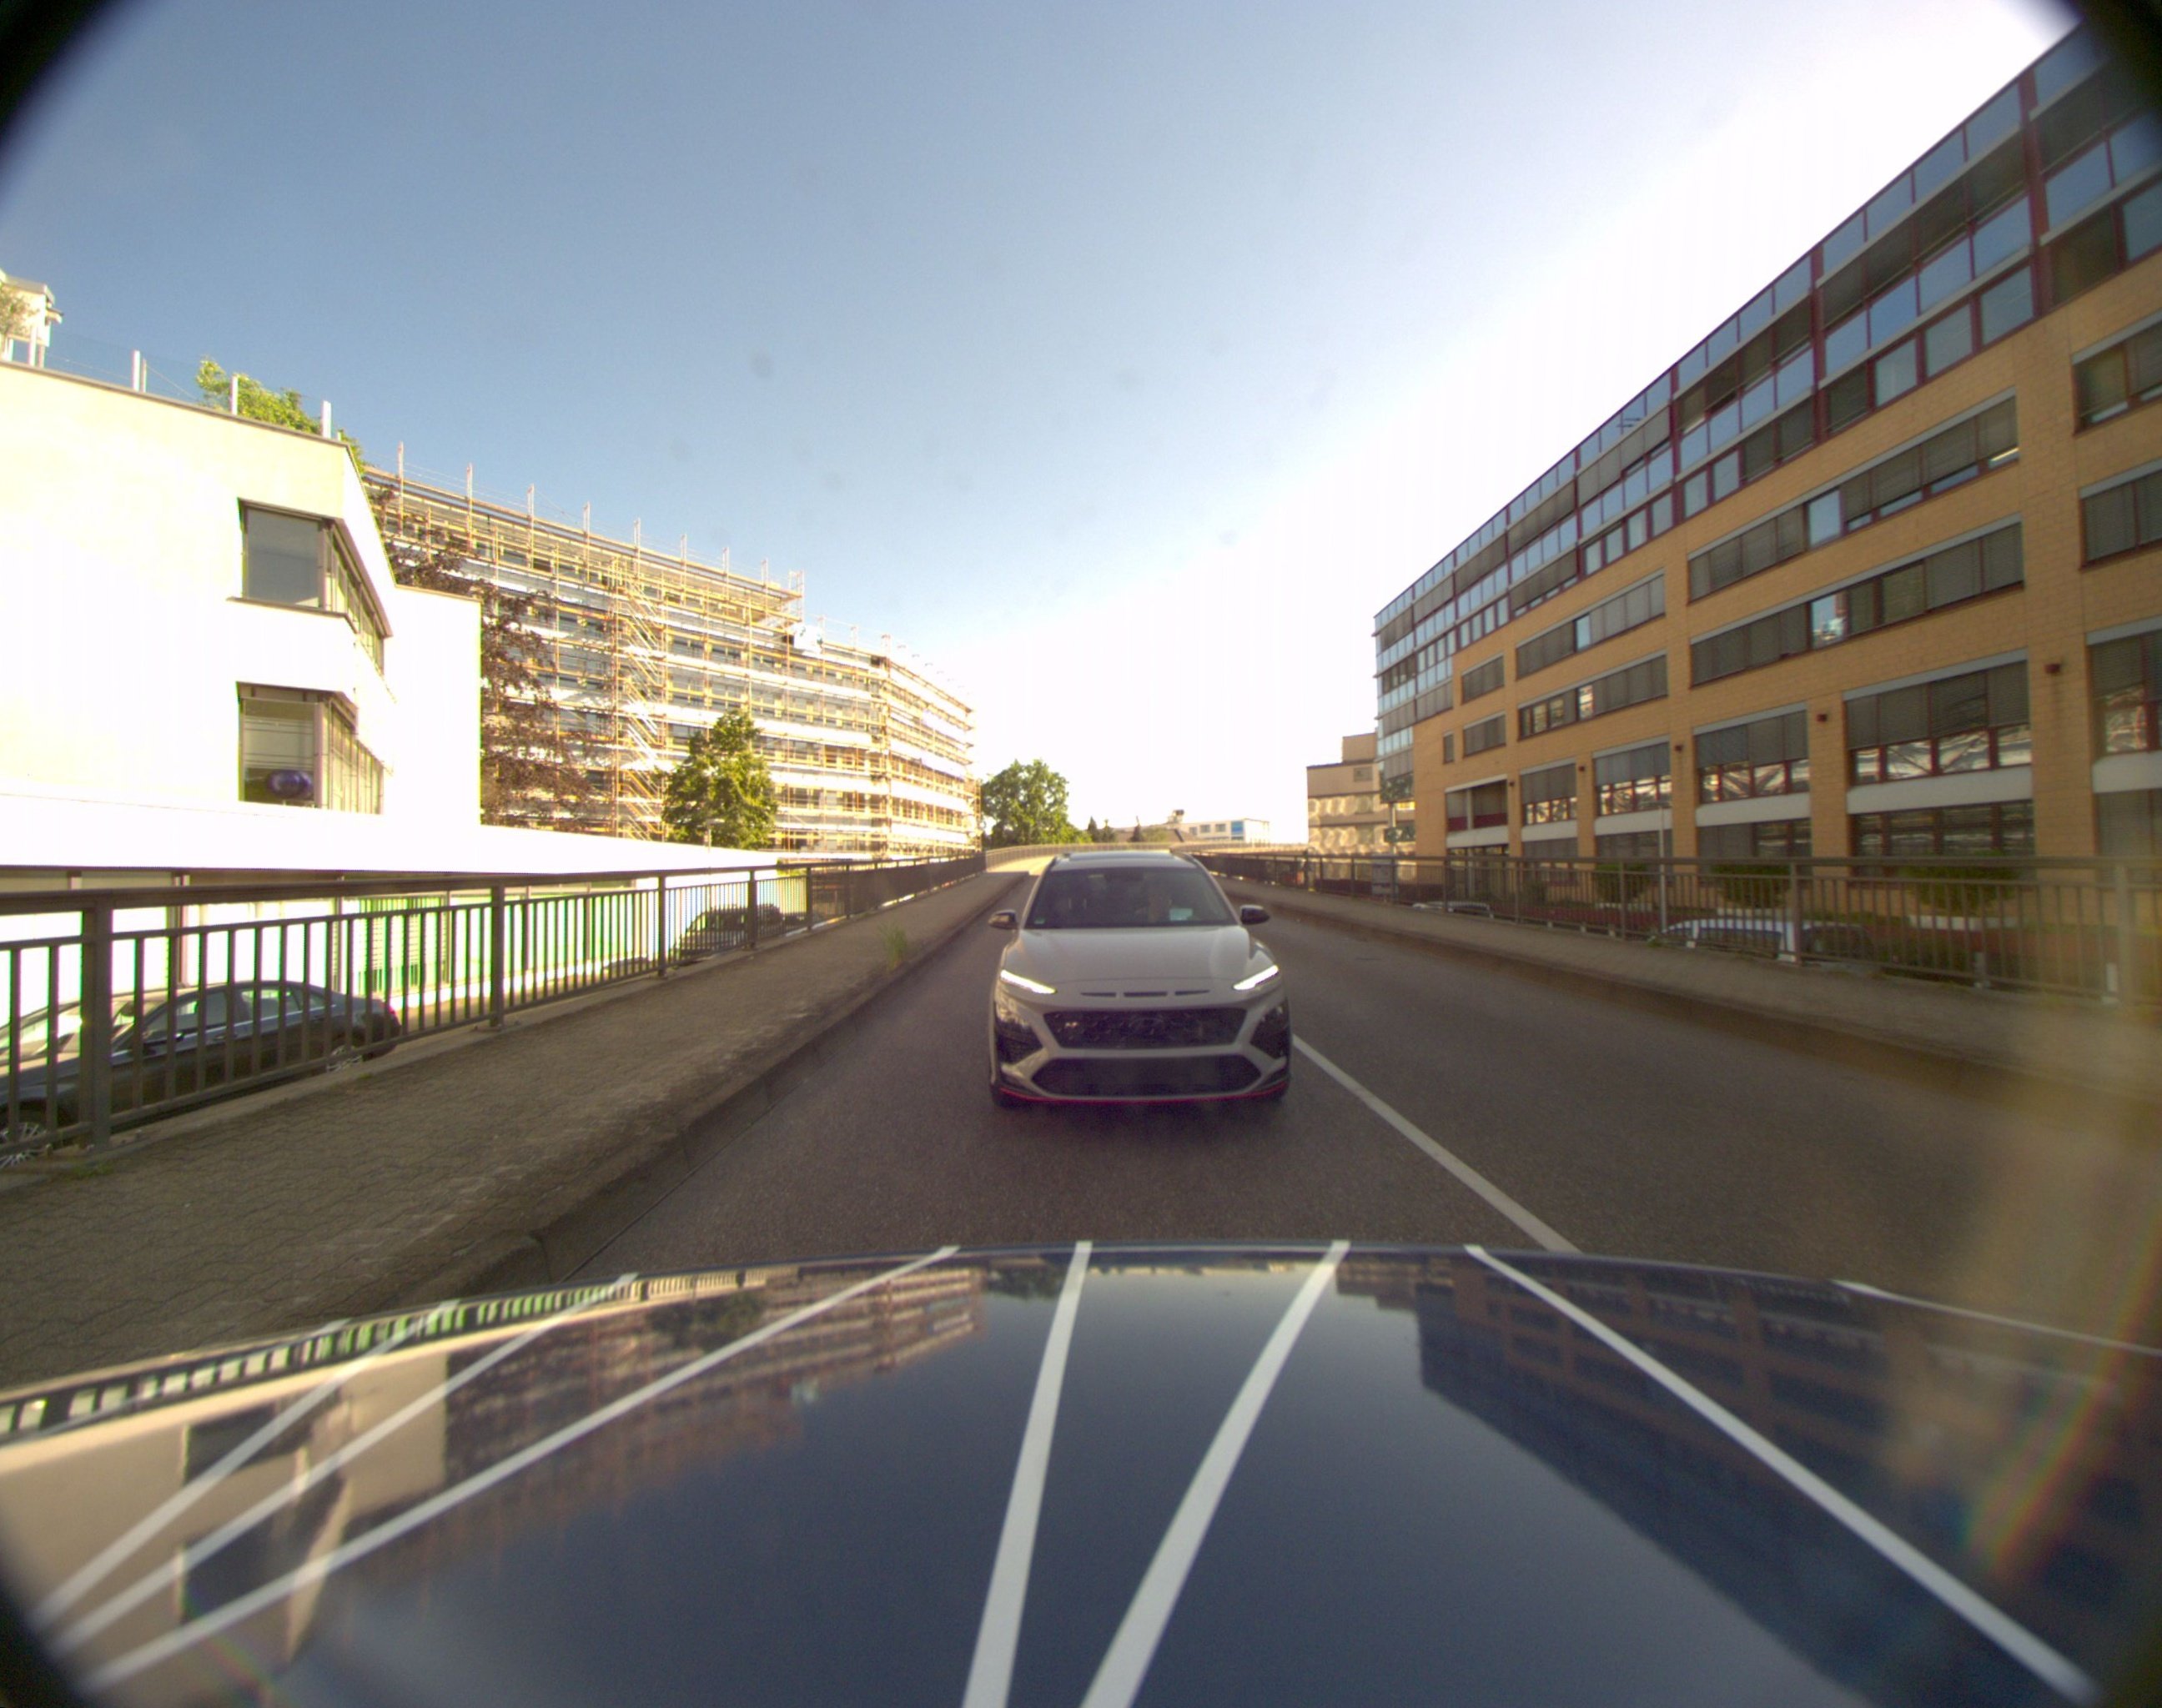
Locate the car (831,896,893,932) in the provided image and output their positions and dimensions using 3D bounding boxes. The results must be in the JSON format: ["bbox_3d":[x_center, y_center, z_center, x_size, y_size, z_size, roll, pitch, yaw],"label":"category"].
[{"bbox_3d":[-10.208,2.781,35.676,1.726,1.383,4.000,-2,-1,-1],"label":"car"}]

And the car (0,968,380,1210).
[{"bbox_3d":[-9.593,2.170,7.417,1.726,1.513,4.001,-2,-1,1],"label":"car"}]

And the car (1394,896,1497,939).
[{"bbox_3d":[12.746,2.190,26.828,1.766,1.261,3.809,0,-1,-1],"label":"car"}]

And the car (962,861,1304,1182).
[{"bbox_3d":[0.292,0.886,5.892,1.749,1.637,4.001,0,-1,1],"label":"car"}]

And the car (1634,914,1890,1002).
[{"bbox_3d":[13.052,1.933,14.921,1.580,1.261,3.809,0,-1,-1],"label":"car"}]

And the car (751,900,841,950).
[{"bbox_3d":[-10.085,2.484,27.216,1.726,1.383,4.000,-2,-1,-1],"label":"car"}]

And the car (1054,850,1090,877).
[{"bbox_3d":[-0.524,0.491,43.049,1.902,1.433,4.126,0,0,-1],"label":"car"}]

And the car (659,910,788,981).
[{"bbox_3d":[-9.904,2.477,21.428,1.726,1.513,4.000,-2,-1,-1],"label":"car"}]
